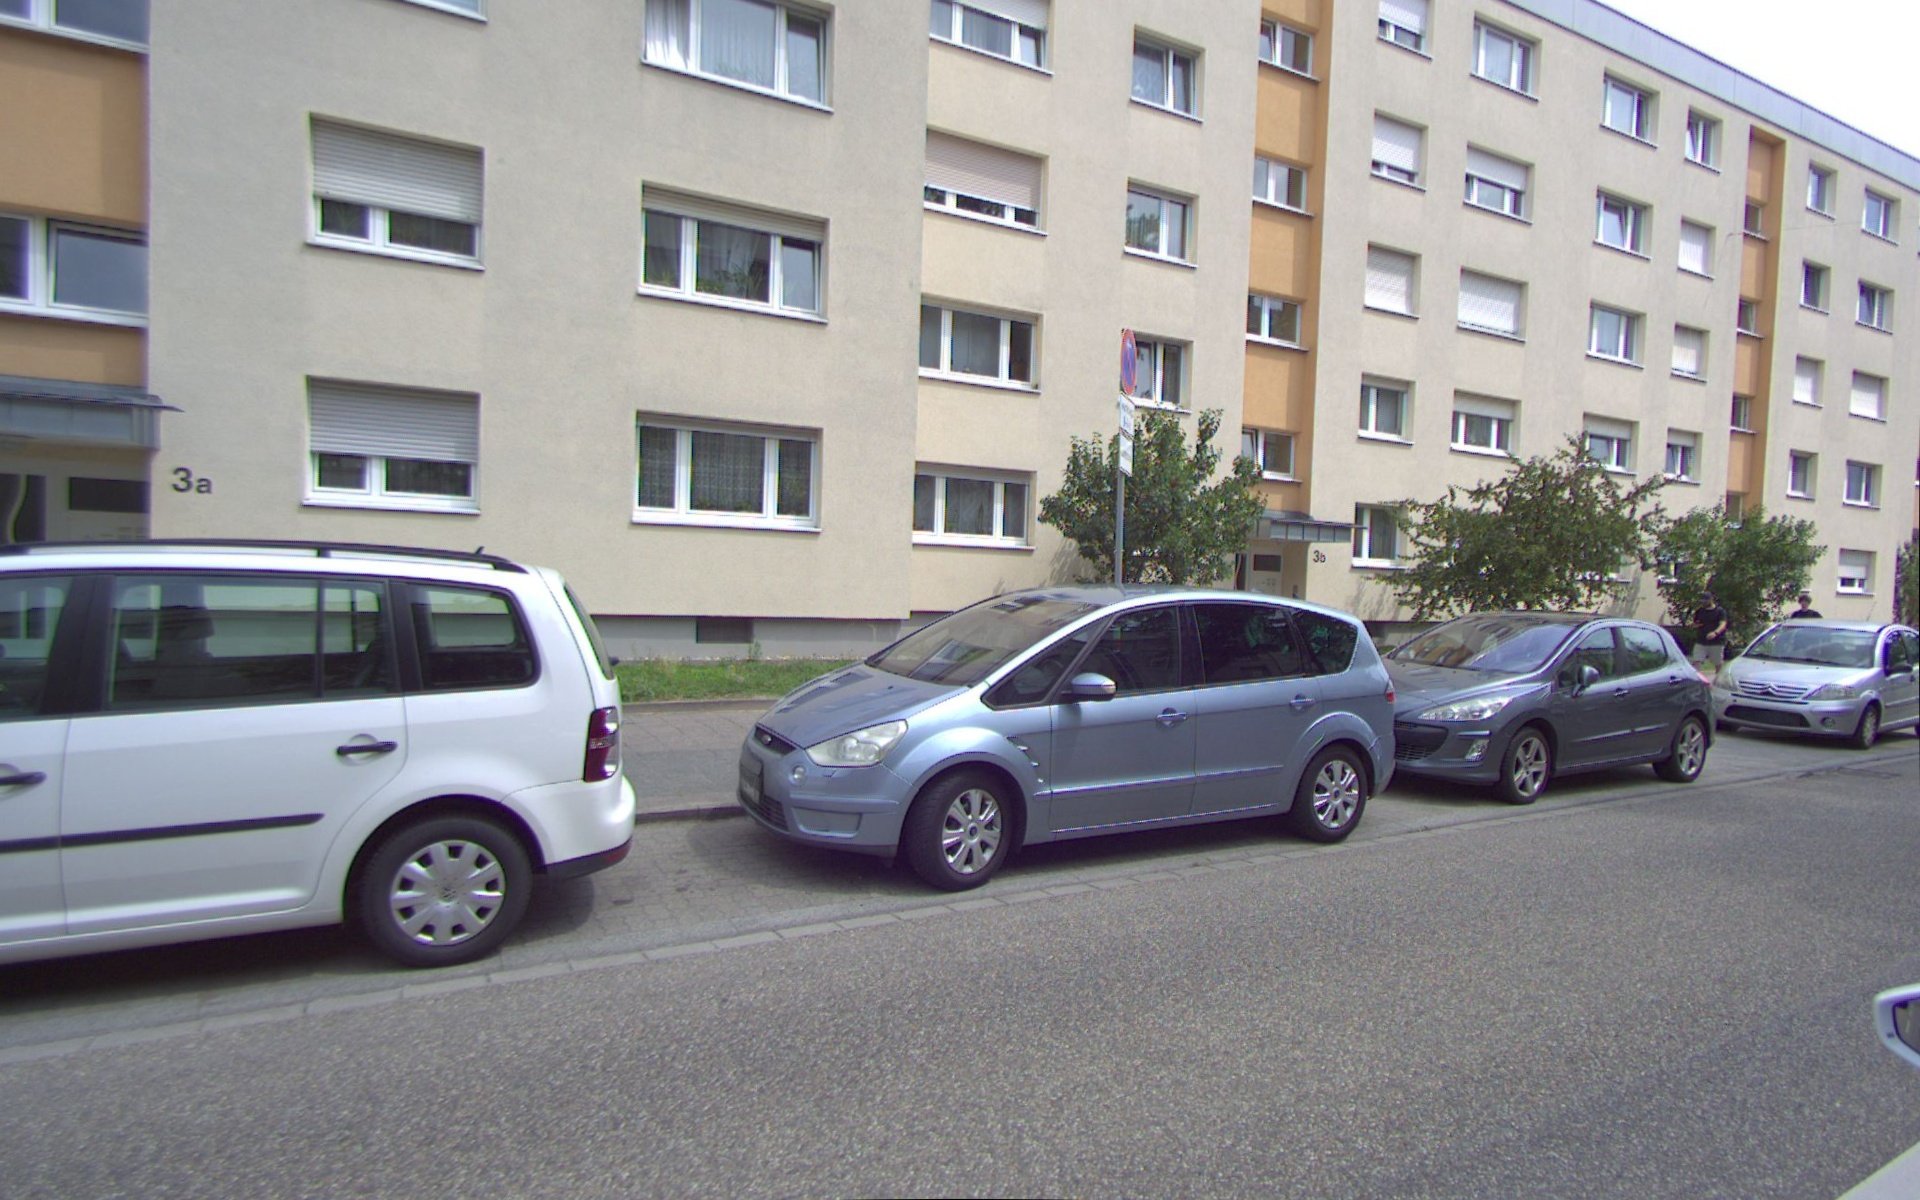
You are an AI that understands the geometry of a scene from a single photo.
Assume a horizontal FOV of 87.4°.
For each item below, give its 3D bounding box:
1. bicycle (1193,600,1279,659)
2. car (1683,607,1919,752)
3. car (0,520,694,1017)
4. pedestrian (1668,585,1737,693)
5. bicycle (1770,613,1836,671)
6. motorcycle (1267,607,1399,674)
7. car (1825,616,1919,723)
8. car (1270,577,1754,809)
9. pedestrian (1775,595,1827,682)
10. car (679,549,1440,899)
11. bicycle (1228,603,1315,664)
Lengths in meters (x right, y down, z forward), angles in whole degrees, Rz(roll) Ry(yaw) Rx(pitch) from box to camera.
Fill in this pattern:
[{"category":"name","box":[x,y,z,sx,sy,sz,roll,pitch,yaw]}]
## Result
[{"category":"bicycle","box":[4.988,0.534,18.107,1.654,0.999,0.438,1,2,-31]},{"category":"car","box":[11.508,0.968,13.360,3.808,1.583,1.661,1,3,-32]},{"category":"car","box":[-3.510,0.516,4.042,4.423,1.634,1.689,2,3,-29]},{"category":"pedestrian","box":[13.157,0.684,17.798,0.889,1.837,0.616,1,2,-33]},{"category":"bicycle","box":[21.378,1.036,25.457,2.102,1.412,0.460,0,2,-27]},{"category":"motorcycle","box":[6.041,0.649,16.223,2.291,0.999,0.658,1,2,-31]},{"category":"car","box":[15.805,1.102,15.986,3.837,1.503,1.810,2,2,-29]},{"category":"car","box":[5.138,0.718,9.270,4.251,1.634,1.933,2,3,-30]},{"category":"pedestrian","box":[18.178,0.829,21.707,0.795,1.837,0.616,1,1,-33]},{"category":"car","box":[0.776,0.604,6.746,4.802,1.634,1.933,2,3,-29]},{"category":"bicycle","box":[5.415,0.581,17.418,1.597,0.999,0.438,1,2,-31]}]
